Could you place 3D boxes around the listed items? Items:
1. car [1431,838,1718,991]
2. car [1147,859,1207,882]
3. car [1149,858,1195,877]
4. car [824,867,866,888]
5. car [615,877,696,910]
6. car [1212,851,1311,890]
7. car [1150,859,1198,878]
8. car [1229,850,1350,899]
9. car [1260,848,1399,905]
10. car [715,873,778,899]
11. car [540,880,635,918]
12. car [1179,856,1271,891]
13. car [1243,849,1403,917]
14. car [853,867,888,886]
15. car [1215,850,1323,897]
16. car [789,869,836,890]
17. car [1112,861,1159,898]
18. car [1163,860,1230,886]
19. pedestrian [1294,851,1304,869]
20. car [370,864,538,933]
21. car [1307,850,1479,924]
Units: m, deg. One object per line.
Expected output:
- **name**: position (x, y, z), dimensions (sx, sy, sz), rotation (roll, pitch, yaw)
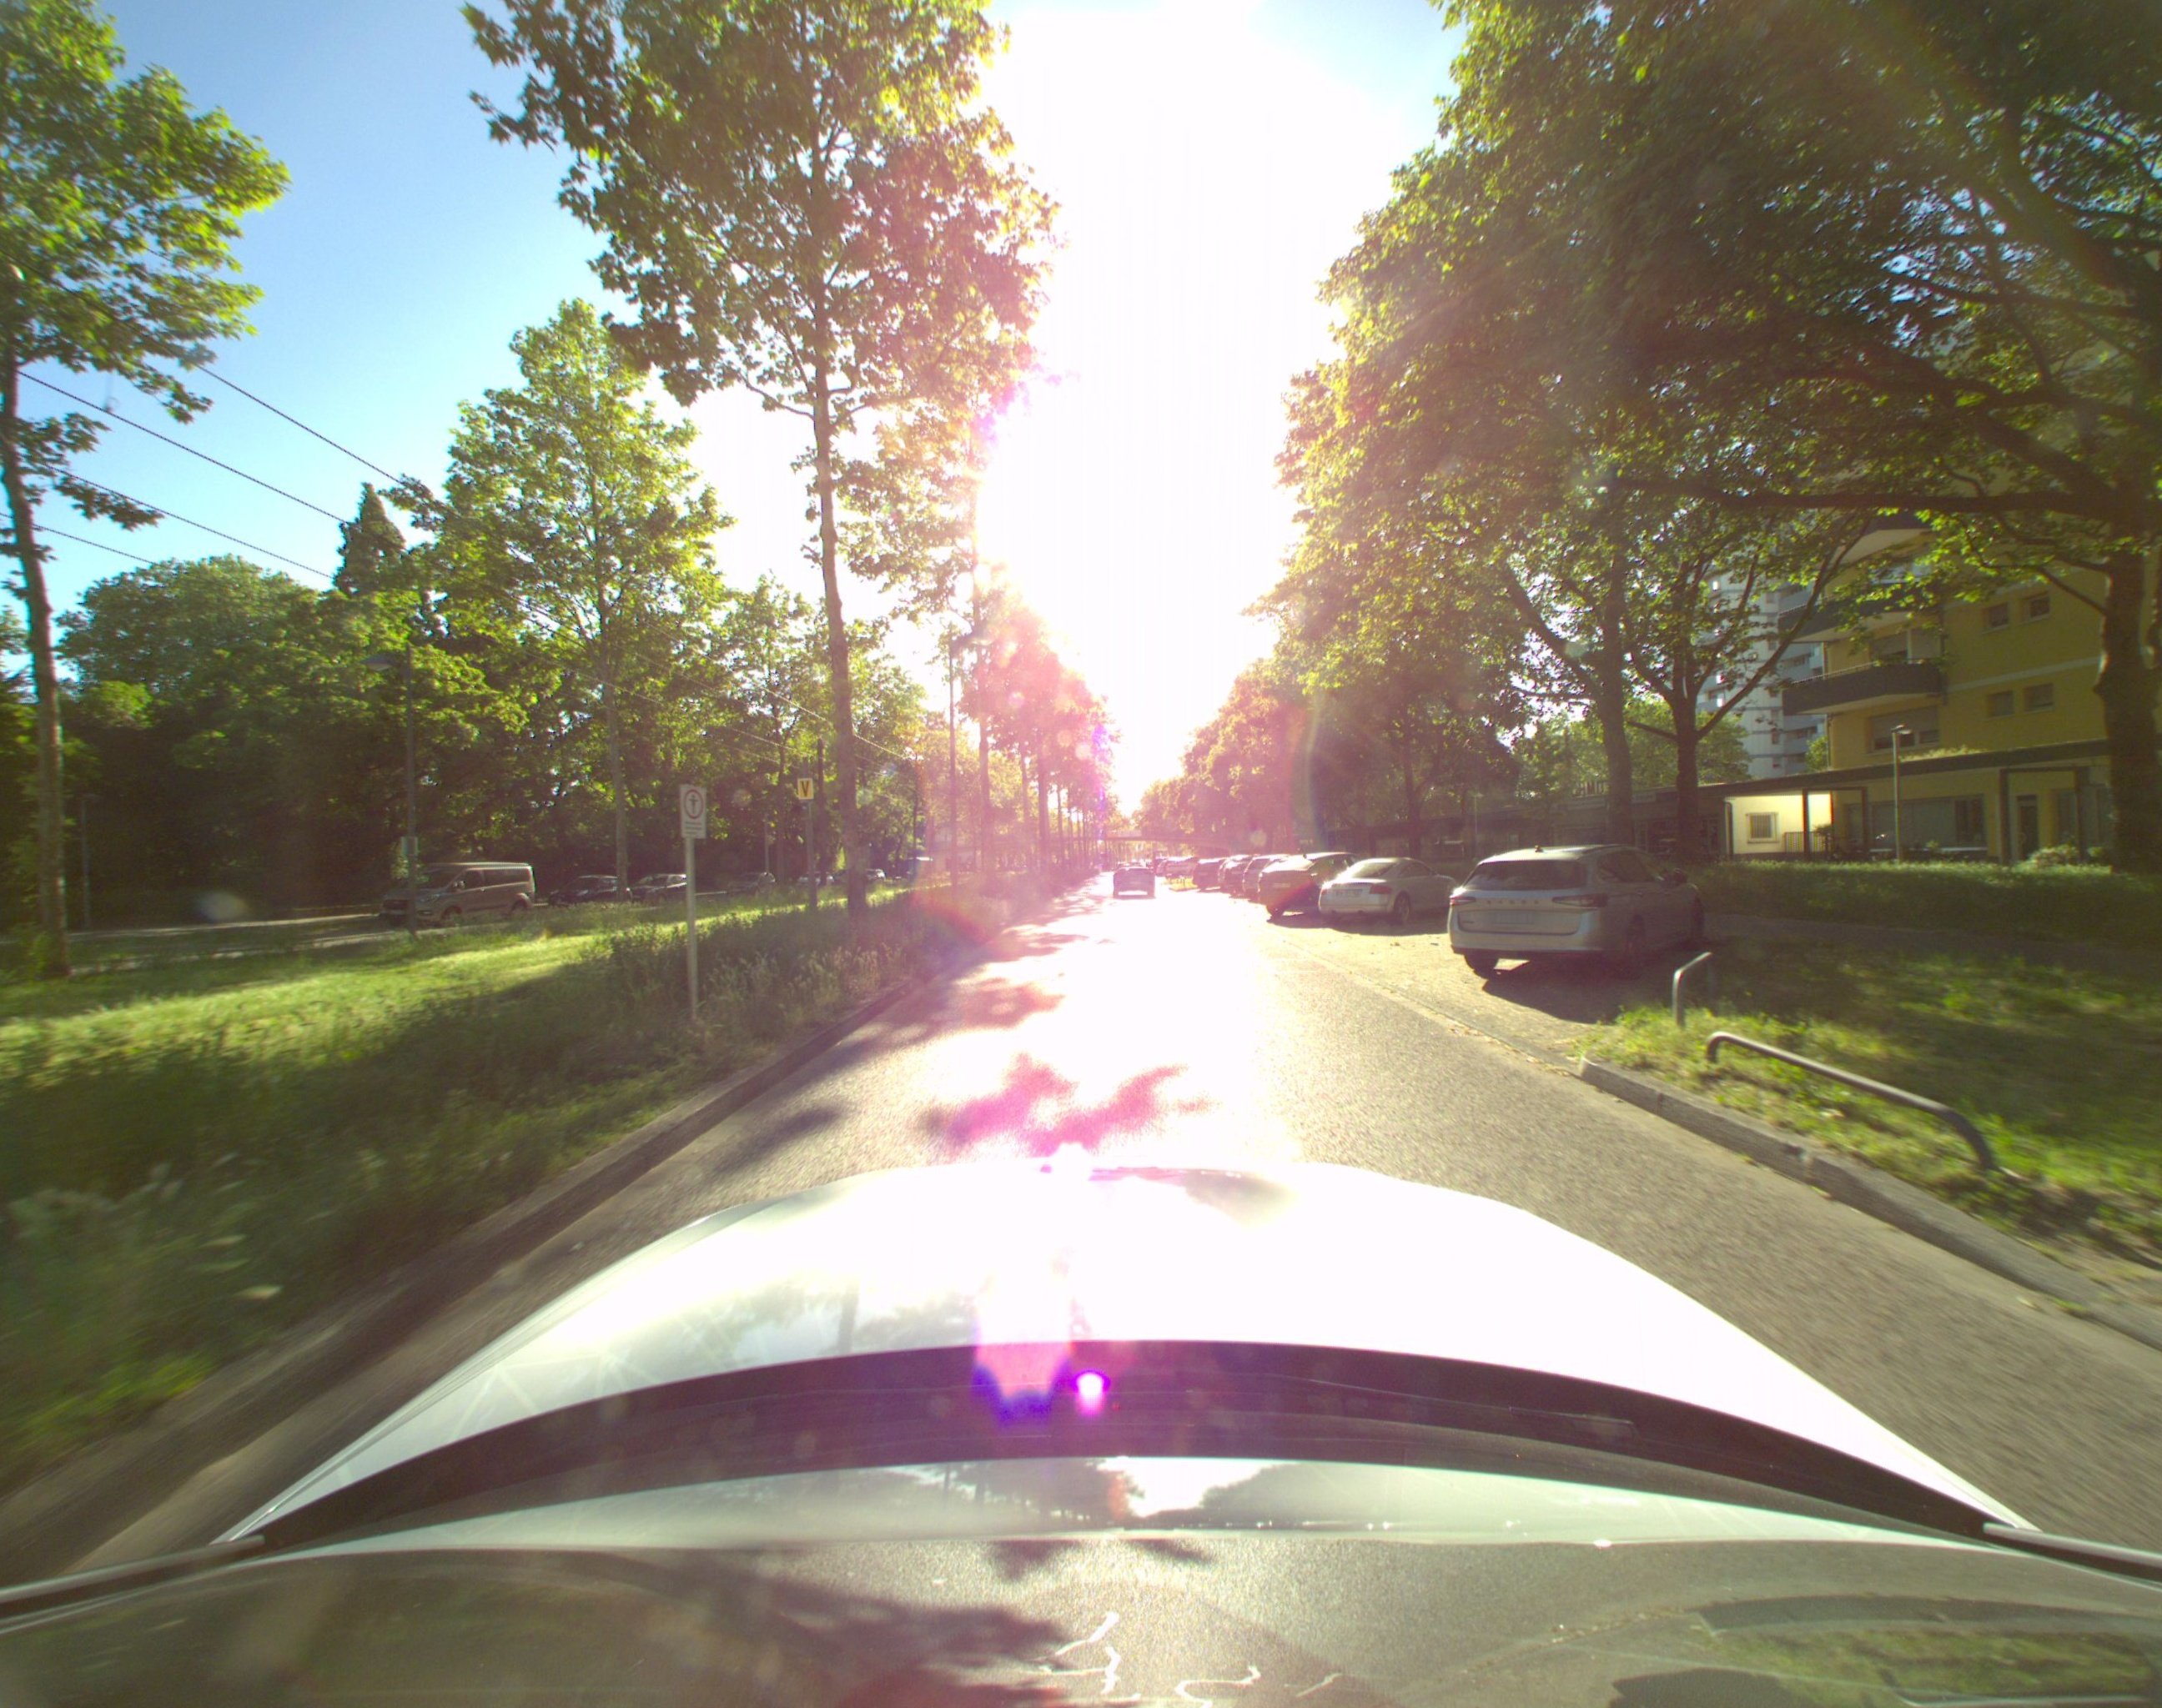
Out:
- **car**: position (6.426, 0.611, 10.368), dimensions (4.519, 1.443, 1.834), rotation (-3, -1, -42)
- **car**: position (7.249, 1.241, 61.204), dimensions (4.649, 1.521, 1.835), rotation (-2, -1, -41)
- **car**: position (8.952, 1.336, 79.812), dimensions (4.648, 1.769, 1.835), rotation (0, -1, -41)
- **car**: position (-19.730, 1.956, 68.227), dimensions (1.985, 1.590, 4.172), rotation (1, 0, 4)
- **car**: position (-20.873, 1.910, 40.108), dimensions (1.864, 1.453, 3.578), rotation (1, 0, 4)
- **car**: position (8.023, 0.707, 35.970), dimensions (4.650, 1.570, 1.834), rotation (-2, -1, -42)
- **car**: position (8.794, 1.390, 76.677), dimensions (4.648, 1.680, 1.835), rotation (0, -1, -41)
- **car**: position (7.321, 0.685, 28.343), dimensions (4.487, 1.450, 1.896), rotation (-2, -2, -43)
- **car**: position (7.684, 0.667, 24.998), dimensions (4.485, 1.450, 1.897), rotation (-2, -2, -41)
- **car**: position (-20.583, 1.936, 50.297), dimensions (1.985, 1.453, 4.004), rotation (1, 0, 4)
- **car**: position (-21.088, 1.883, 34.955), dimensions (1.638, 1.453, 3.667), rotation (1, 0, 4)
- **car**: position (6.944, 0.916, 39.022), dimensions (4.651, 1.459, 1.955), rotation (-1, -1, -44)
- **car**: position (6.249, 0.686, 20.792), dimensions (4.353, 1.424, 1.834), rotation (-3, -1, -42)
- **car**: position (-19.081, 2.010, 74.068), dimensions (1.779, 1.590, 4.172), rotation (1, 0, 4)
- **car**: position (7.491, 0.730, 32.165), dimensions (4.651, 1.570, 1.834), rotation (-3, -1, -43)
- **car**: position (-20.177, 1.931, 61.434), dimensions (1.985, 1.453, 4.004), rotation (1, 0, 4)
- **car**: position (2.346, 1.064, 35.410), dimensions (1.914, 1.411, 4.003), rotation (-1, 0, 3)
- **car**: position (7.779, 1.253, 54.747), dimensions (4.648, 1.680, 1.835), rotation (0, -1, -41)
- **pedestrian**: position (24.447, 0.670, 91.396), dimensions (0.826, 2.014, 0.742), rotation (-1, -1, -39)
- **car**: position (-21.169, 1.402, 27.827), dimensions (1.638, 2.093, 4.919), rotation (1, 0, 4)
- **car**: position (6.939, 0.665, 17.885), dimensions (4.353, 1.297, 1.671), rotation (-3, -1, -42)
